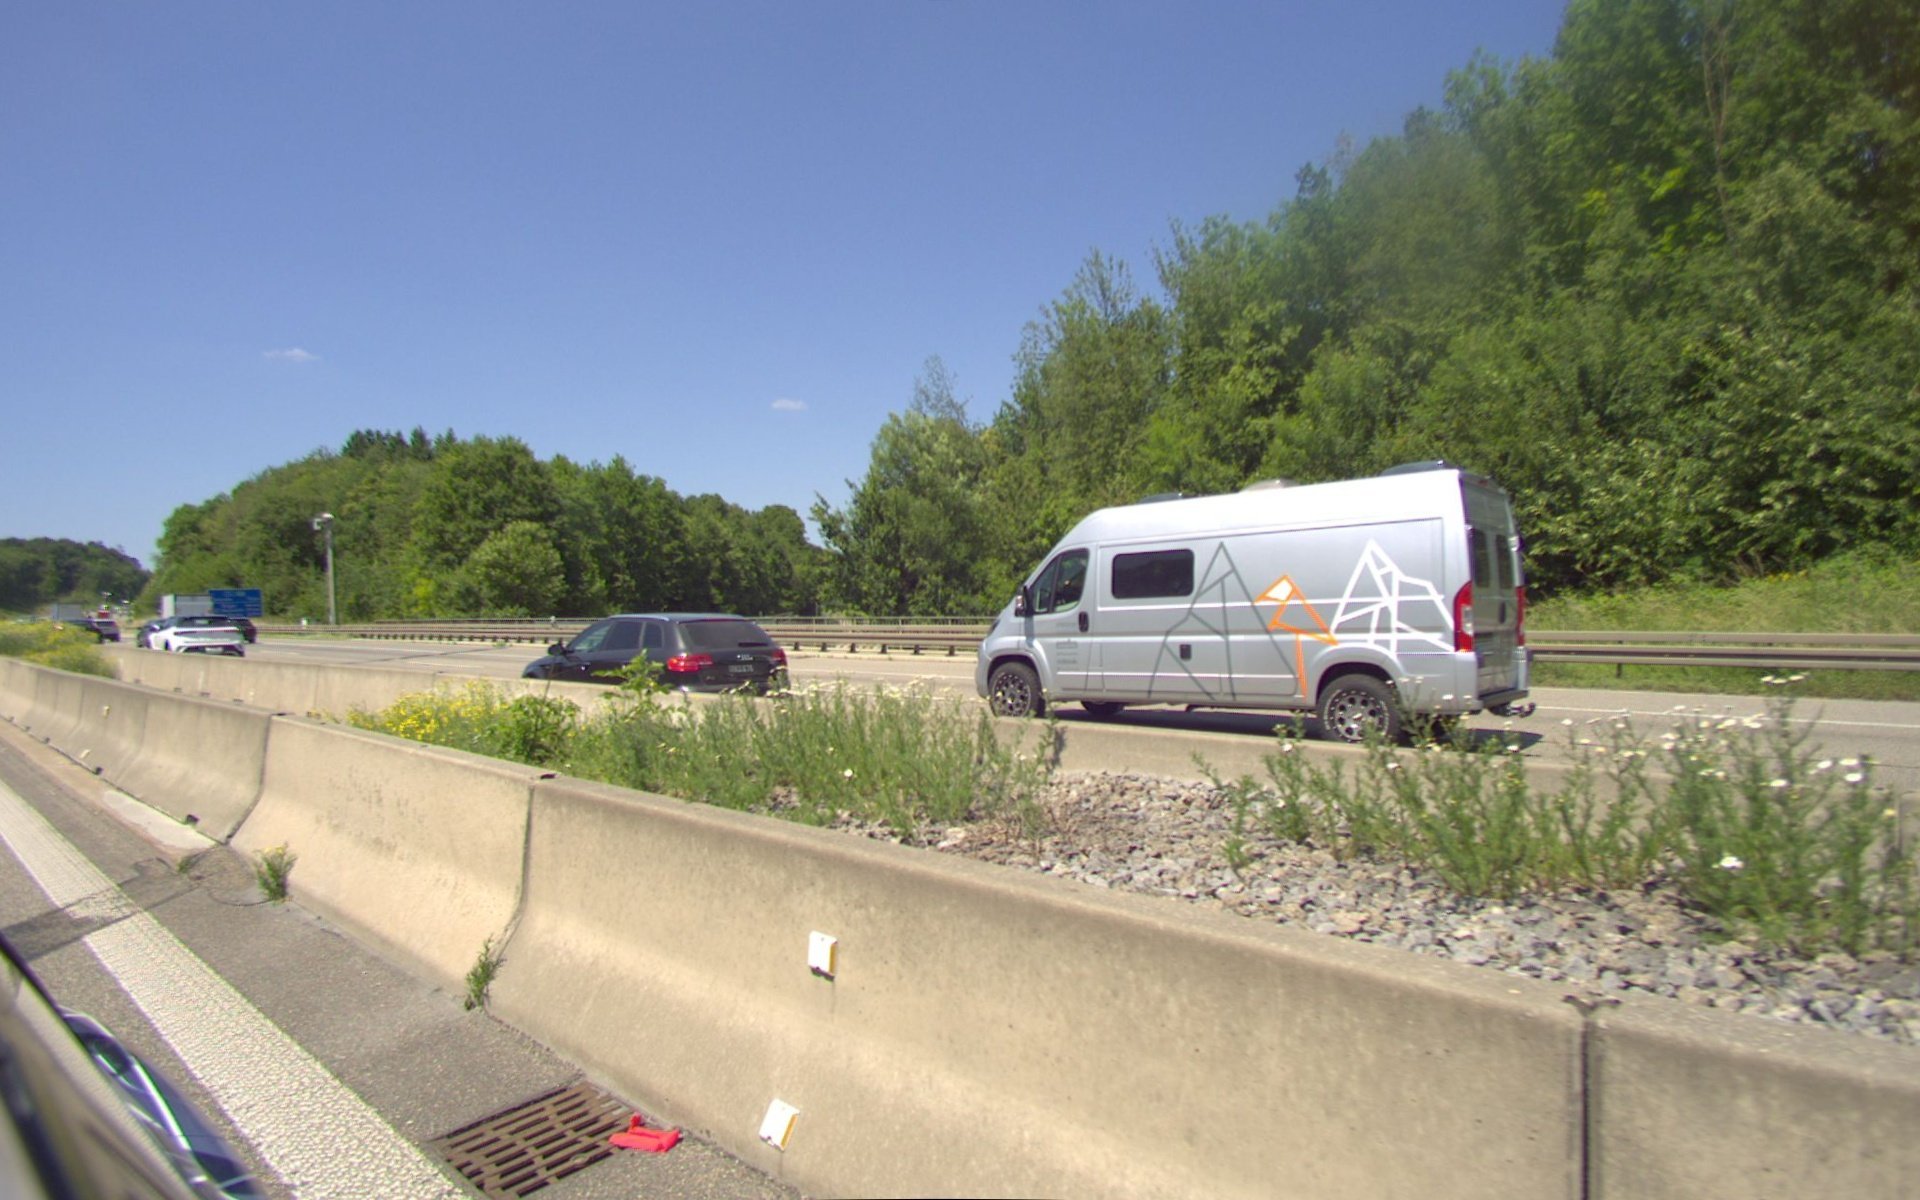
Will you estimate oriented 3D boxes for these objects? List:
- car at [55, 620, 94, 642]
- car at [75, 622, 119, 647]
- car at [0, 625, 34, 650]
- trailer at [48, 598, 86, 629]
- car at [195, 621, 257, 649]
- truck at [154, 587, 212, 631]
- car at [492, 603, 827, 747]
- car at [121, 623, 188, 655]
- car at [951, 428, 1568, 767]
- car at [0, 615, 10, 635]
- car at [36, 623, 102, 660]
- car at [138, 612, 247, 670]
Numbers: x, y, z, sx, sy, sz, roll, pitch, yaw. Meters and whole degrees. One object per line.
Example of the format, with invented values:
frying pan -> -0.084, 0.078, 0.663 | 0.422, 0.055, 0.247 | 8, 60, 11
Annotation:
car -> -71.974, 2.498, 82.232 | 4.530, 1.714, 1.971 | -2, -1, 44
car -> -57.517, 2.265, 67.412 | 4.001, 1.558, 1.822 | -1, -1, 44
car -> -56.188, 2.180, 59.790 | 4.609, 1.416, 1.713 | -1, -1, 41
trailer -> -116.070, 1.807, 131.449 | 10.170, 3.886, 2.750 | -1, -1, 43
car -> -41.064, 1.925, 56.579 | 4.690, 1.492, 1.972 | -1, -1, 43
truck -> -64.198, 0.770, 83.549 | 7.316, 3.501, 2.705 | -2, -1, 44
car -> -3.767, 0.780, 12.269 | 4.410, 1.421, 1.855 | -1, 0, 42
car -> -38.006, 1.804, 47.738 | 4.233, 1.431, 1.823 | -1, -1, 42
car -> 2.884, 0.010, 10.977 | 6.060, 2.722, 2.192 | -1, -1, 42
car -> -69.951, 1.824, 73.142 | 4.037, 1.438, 1.614 | -1, -1, 44
car -> -37.126, 1.688, 42.133 | 3.856, 1.439, 1.647 | -1, -1, 42
car -> -22.310, 1.141, 29.376 | 4.255, 1.538, 1.785 | -1, -1, 42
